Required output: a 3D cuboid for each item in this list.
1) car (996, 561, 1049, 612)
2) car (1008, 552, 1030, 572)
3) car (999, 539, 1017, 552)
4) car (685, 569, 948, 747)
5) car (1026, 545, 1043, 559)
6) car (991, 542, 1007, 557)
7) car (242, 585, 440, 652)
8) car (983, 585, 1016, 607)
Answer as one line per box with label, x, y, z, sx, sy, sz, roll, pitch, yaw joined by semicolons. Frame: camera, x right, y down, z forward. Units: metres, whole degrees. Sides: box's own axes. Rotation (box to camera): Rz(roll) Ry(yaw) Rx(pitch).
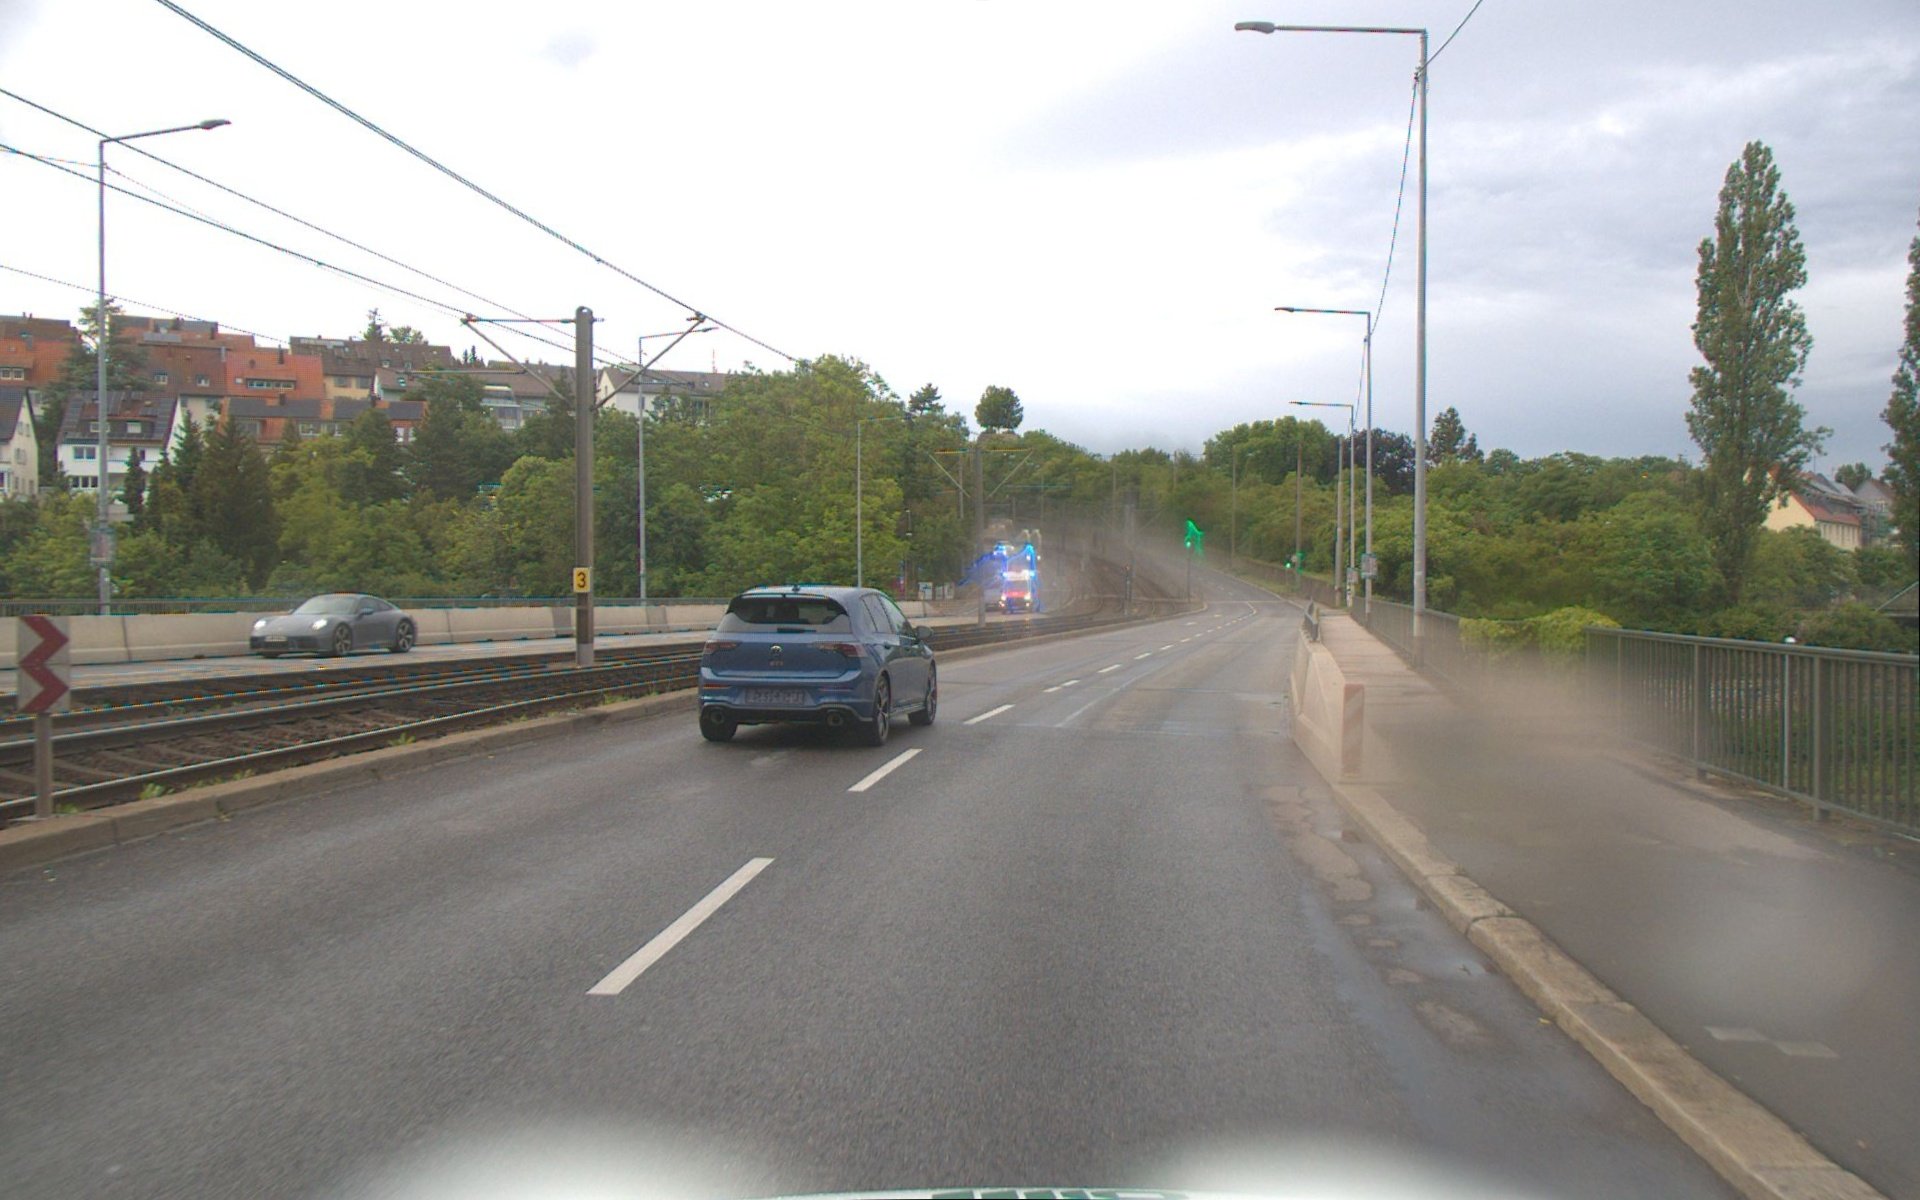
car;4.122;-0.859;107.138;2.338;3.170;6.362;1;0;12
car;5.617;-3.628;158.536;1.928;1.625;5.184;-1;-1;0
car;5.949;-6.773;204.938;1.696;1.462;4.487;-1;0;-4
car;-1.292;0.495;16.591;1.726;1.527;4.003;1;0;8
car;8.139;-5.277;181.135;1.568;1.519;3.017;-2;2;-2
car;4.498;-5.835;191.712;1.783;1.541;4.530;0;0;1
car;-13.245;0.374;35.743;1.797;1.337;4.623;-1;0;12
car;2.801;-0.276;116.067;1.778;1.461;4.745;0;1;9
